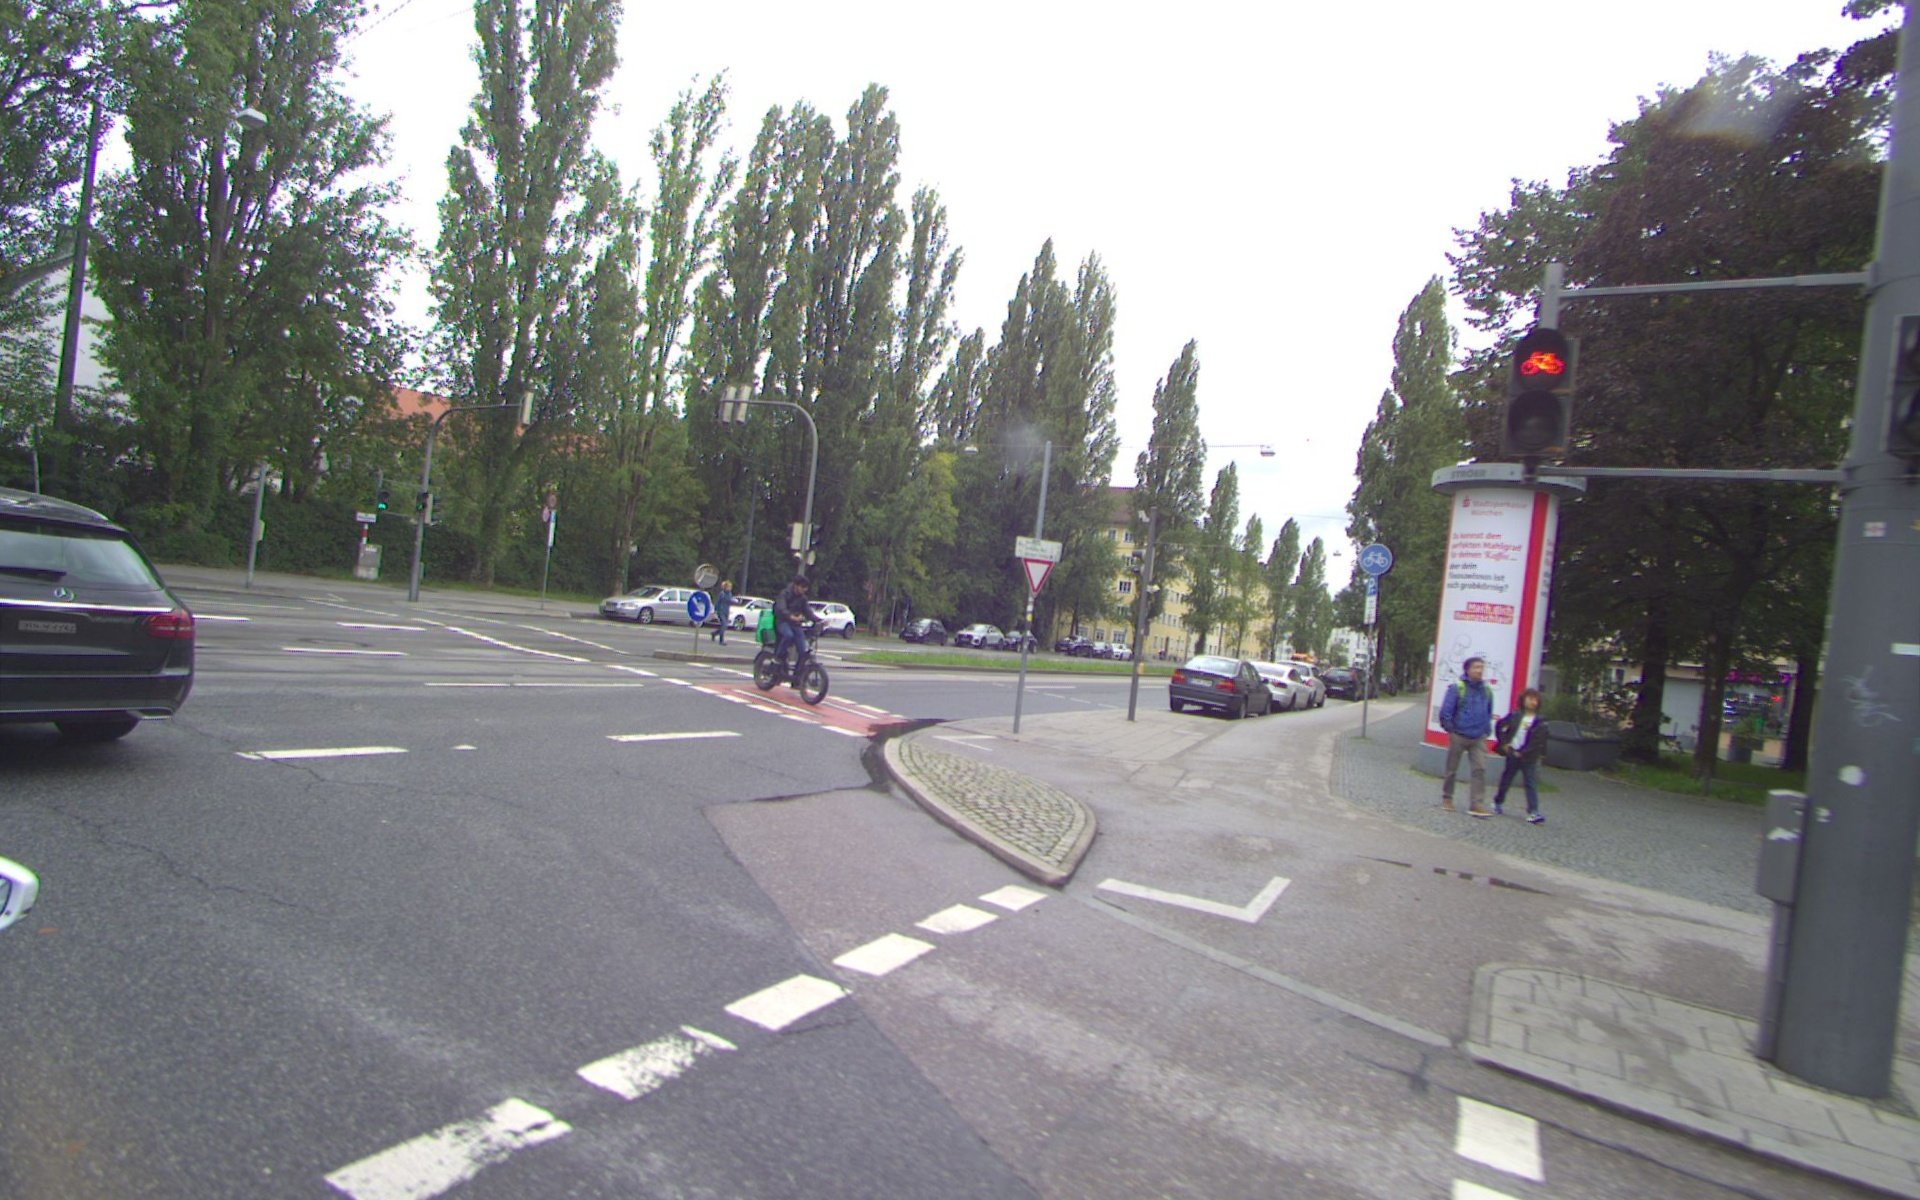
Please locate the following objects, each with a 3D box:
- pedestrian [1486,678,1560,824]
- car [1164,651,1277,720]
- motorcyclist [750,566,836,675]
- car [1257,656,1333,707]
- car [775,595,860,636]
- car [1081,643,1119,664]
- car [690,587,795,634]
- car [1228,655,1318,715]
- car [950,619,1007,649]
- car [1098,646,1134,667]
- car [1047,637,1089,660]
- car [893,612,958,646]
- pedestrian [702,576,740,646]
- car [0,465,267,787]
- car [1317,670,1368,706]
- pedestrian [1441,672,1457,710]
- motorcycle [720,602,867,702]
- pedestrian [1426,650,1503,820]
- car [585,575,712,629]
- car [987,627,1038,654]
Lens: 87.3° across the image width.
[{"bbox_3d":[6.013,1.579,10.746,0.536,1.422,0.719,6,1,31],"label":"pedestrian"},{"bbox_3d":[6.367,2.043,24.298,1.701,1.332,3.997,7,-1,27],"label":"car"},{"bbox_3d":[-2.421,0.299,14.603,0.866,1.459,0.620,6,-2,27],"label":"motorcyclist"},{"bbox_3d":[11.566,2.797,34.554,1.701,1.424,4.371,7,-1,27],"label":"car"},{"bbox_3d":[-6.565,0.735,46.835,1.755,1.504,4.135,6,-1,27],"label":"car"},{"bbox_3d":[11.779,4.485,84.267,1.755,1.504,4.135,6,-1,27],"label":"car"},{"bbox_3d":[-8.995,0.466,41.984,1.756,1.504,4.252,6,-1,30],"label":"car"},{"bbox_3d":[9.318,2.492,29.699,1.701,1.424,4.371,7,-1,27],"label":"car"},{"bbox_3d":[1.195,2.154,62.542,1.755,1.504,4.135,6,-1,27],"label":"car"},{"bbox_3d":[13.768,4.981,88.544,1.755,1.504,4.135,6,-1,27],"label":"car"},{"bbox_3d":[8.452,3.761,78.105,1.755,1.504,4.135,6,-1,27],"label":"car"},{"bbox_3d":[-1.875,1.648,56.432,1.755,1.504,4.135,6,-1,27],"label":"car"},{"bbox_3d":[-6.114,0.282,25.723,0.692,1.681,0.550,8,-2,-18],"label":"pedestrian"},{"bbox_3d":[-6.709,-0.112,5.980,4.616,1.567,1.870,7,-1,21],"label":"car"},{"bbox_3d":[18.395,4.183,48.278,1.701,1.424,4.471,7,-1,27],"label":"car"},{"bbox_3d":[27.252,5.068,56.081,0.536,2.036,0.631,6,-2,22],"label":"pedestrian"},{"bbox_3d":[-2.422,0.748,14.563,1.994,1.183,0.630,6,-2,27],"label":"motorcycle"},{"bbox_3d":[5.399,1.407,10.749,0.536,1.684,0.718,6,3,31],"label":"pedestrian"},{"bbox_3d":[-11.399,0.119,37.140,1.756,1.504,4.346,6,-1,30],"label":"car"},{"bbox_3d":[3.539,2.720,67.557,1.755,1.504,4.135,6,-1,27],"label":"car"}]
